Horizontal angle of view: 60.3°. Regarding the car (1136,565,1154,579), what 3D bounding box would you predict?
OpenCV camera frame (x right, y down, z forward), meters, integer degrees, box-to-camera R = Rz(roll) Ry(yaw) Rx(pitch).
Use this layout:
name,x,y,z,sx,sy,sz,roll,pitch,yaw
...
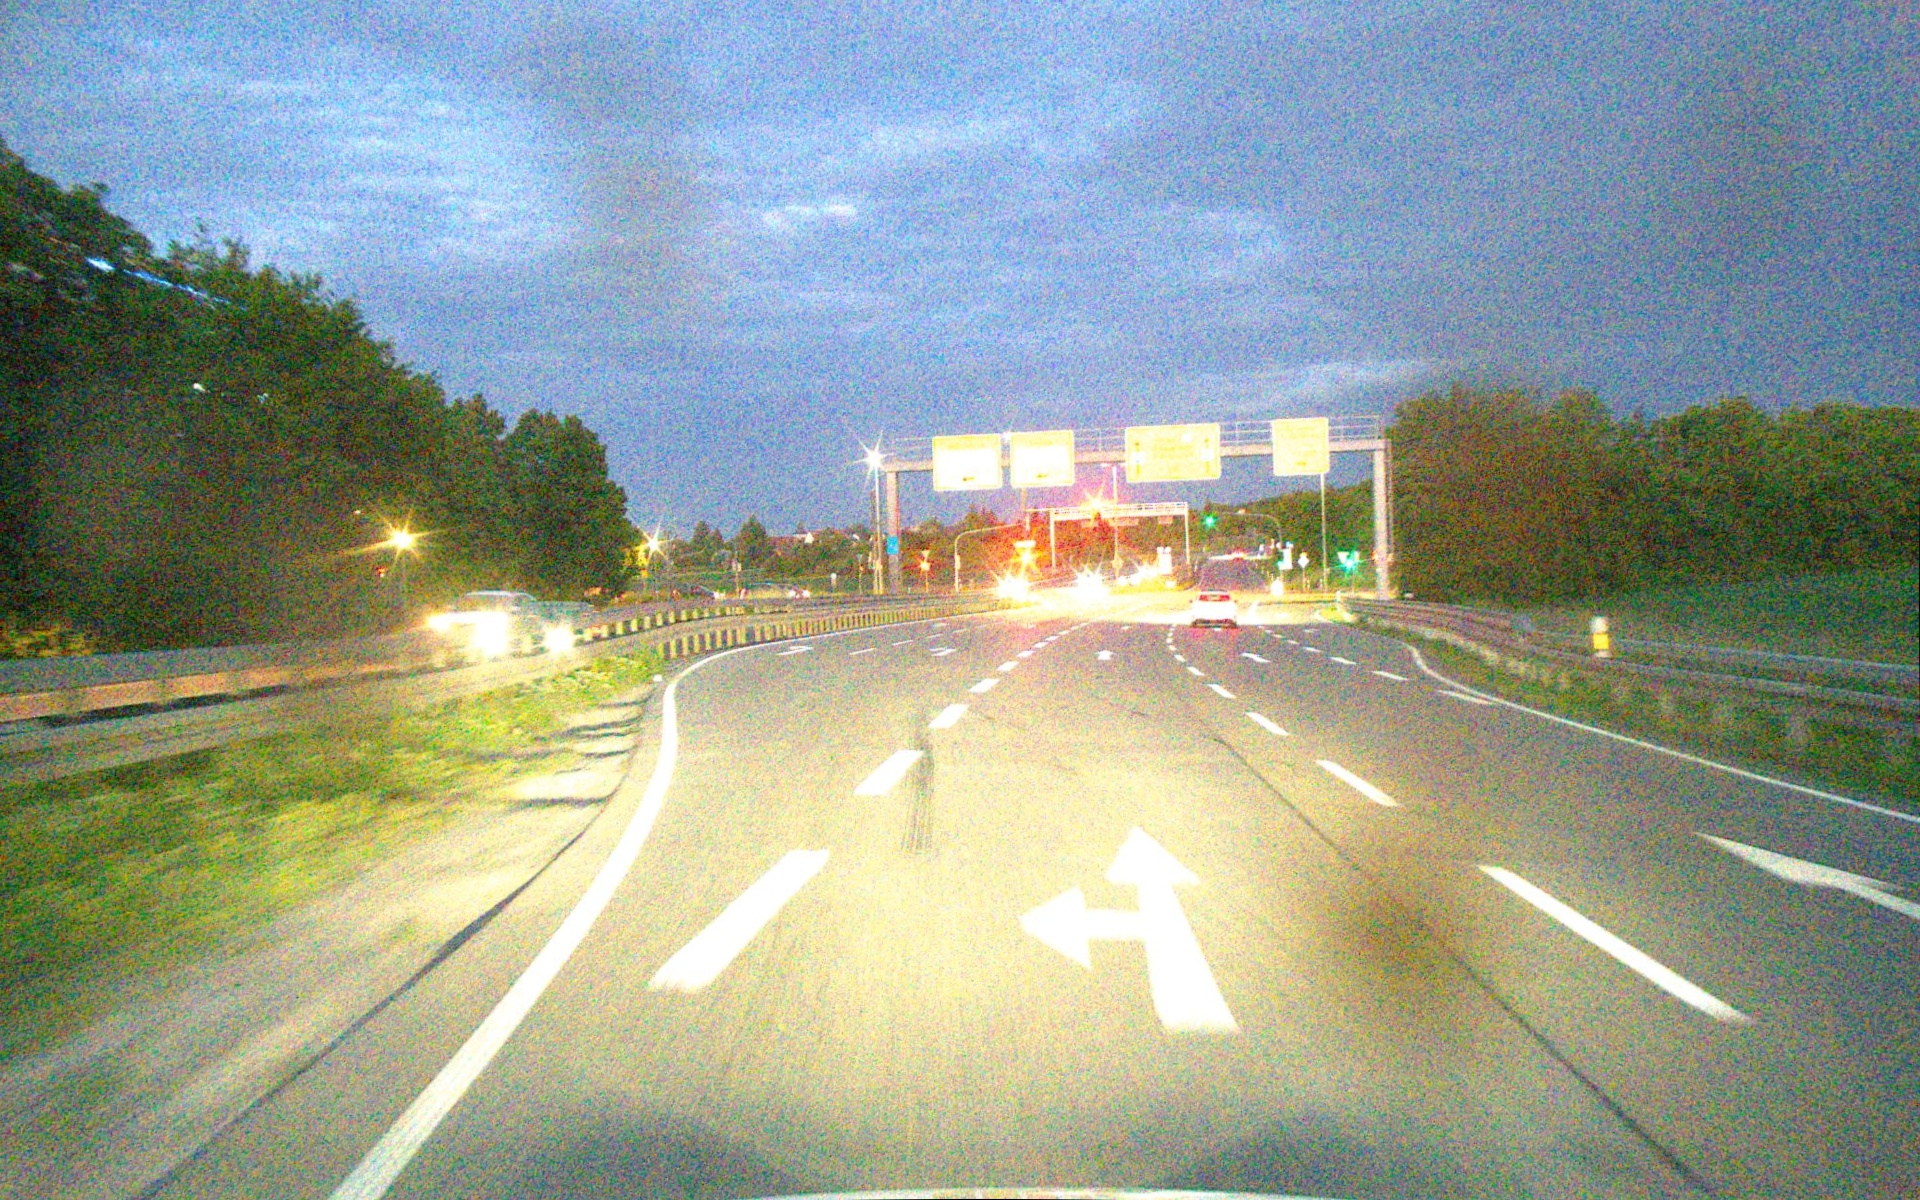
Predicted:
name,x,y,z,sx,sy,sz,roll,pitch,yaw
car,23.824,-3.667,212.722,1.951,1.727,4.004,-1,1,10

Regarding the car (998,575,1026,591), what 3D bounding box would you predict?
name,x,y,z,sx,sy,sz,roll,pitch,yaw
car,4.915,-1.593,154.578,1.951,1.450,4.537,-1,1,10

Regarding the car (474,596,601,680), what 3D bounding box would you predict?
name,x,y,z,sx,sy,sz,roll,pitch,yaw
car,-8.772,0.743,34.635,1.658,1.560,3.999,-1,1,-1

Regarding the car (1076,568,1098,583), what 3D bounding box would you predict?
name,x,y,z,sx,sy,sz,roll,pitch,yaw
car,13.981,-2.697,182.213,1.951,1.507,4.687,-1,1,10

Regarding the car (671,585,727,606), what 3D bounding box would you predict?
name,x,y,z,sx,sy,sz,roll,pitch,yaw
car,-20.099,-0.324,127.294,3.903,1.499,1.731,-2,1,5

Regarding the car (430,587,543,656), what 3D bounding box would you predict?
name,x,y,z,sx,sy,sz,roll,pitch,yaw
car,-12.244,0.521,43.040,1.666,1.651,4.307,-1,1,0

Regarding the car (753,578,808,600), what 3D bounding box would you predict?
name,x,y,z,sx,sy,sz,roll,pitch,yaw
car,-14.032,-0.876,129.415,3.954,1.564,1.731,-1,1,8

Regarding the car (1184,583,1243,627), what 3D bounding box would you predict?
name,x,y,z,sx,sy,sz,roll,pitch,yaw
car,9.919,0.182,64.639,1.965,1.639,3.848,0,0,13
